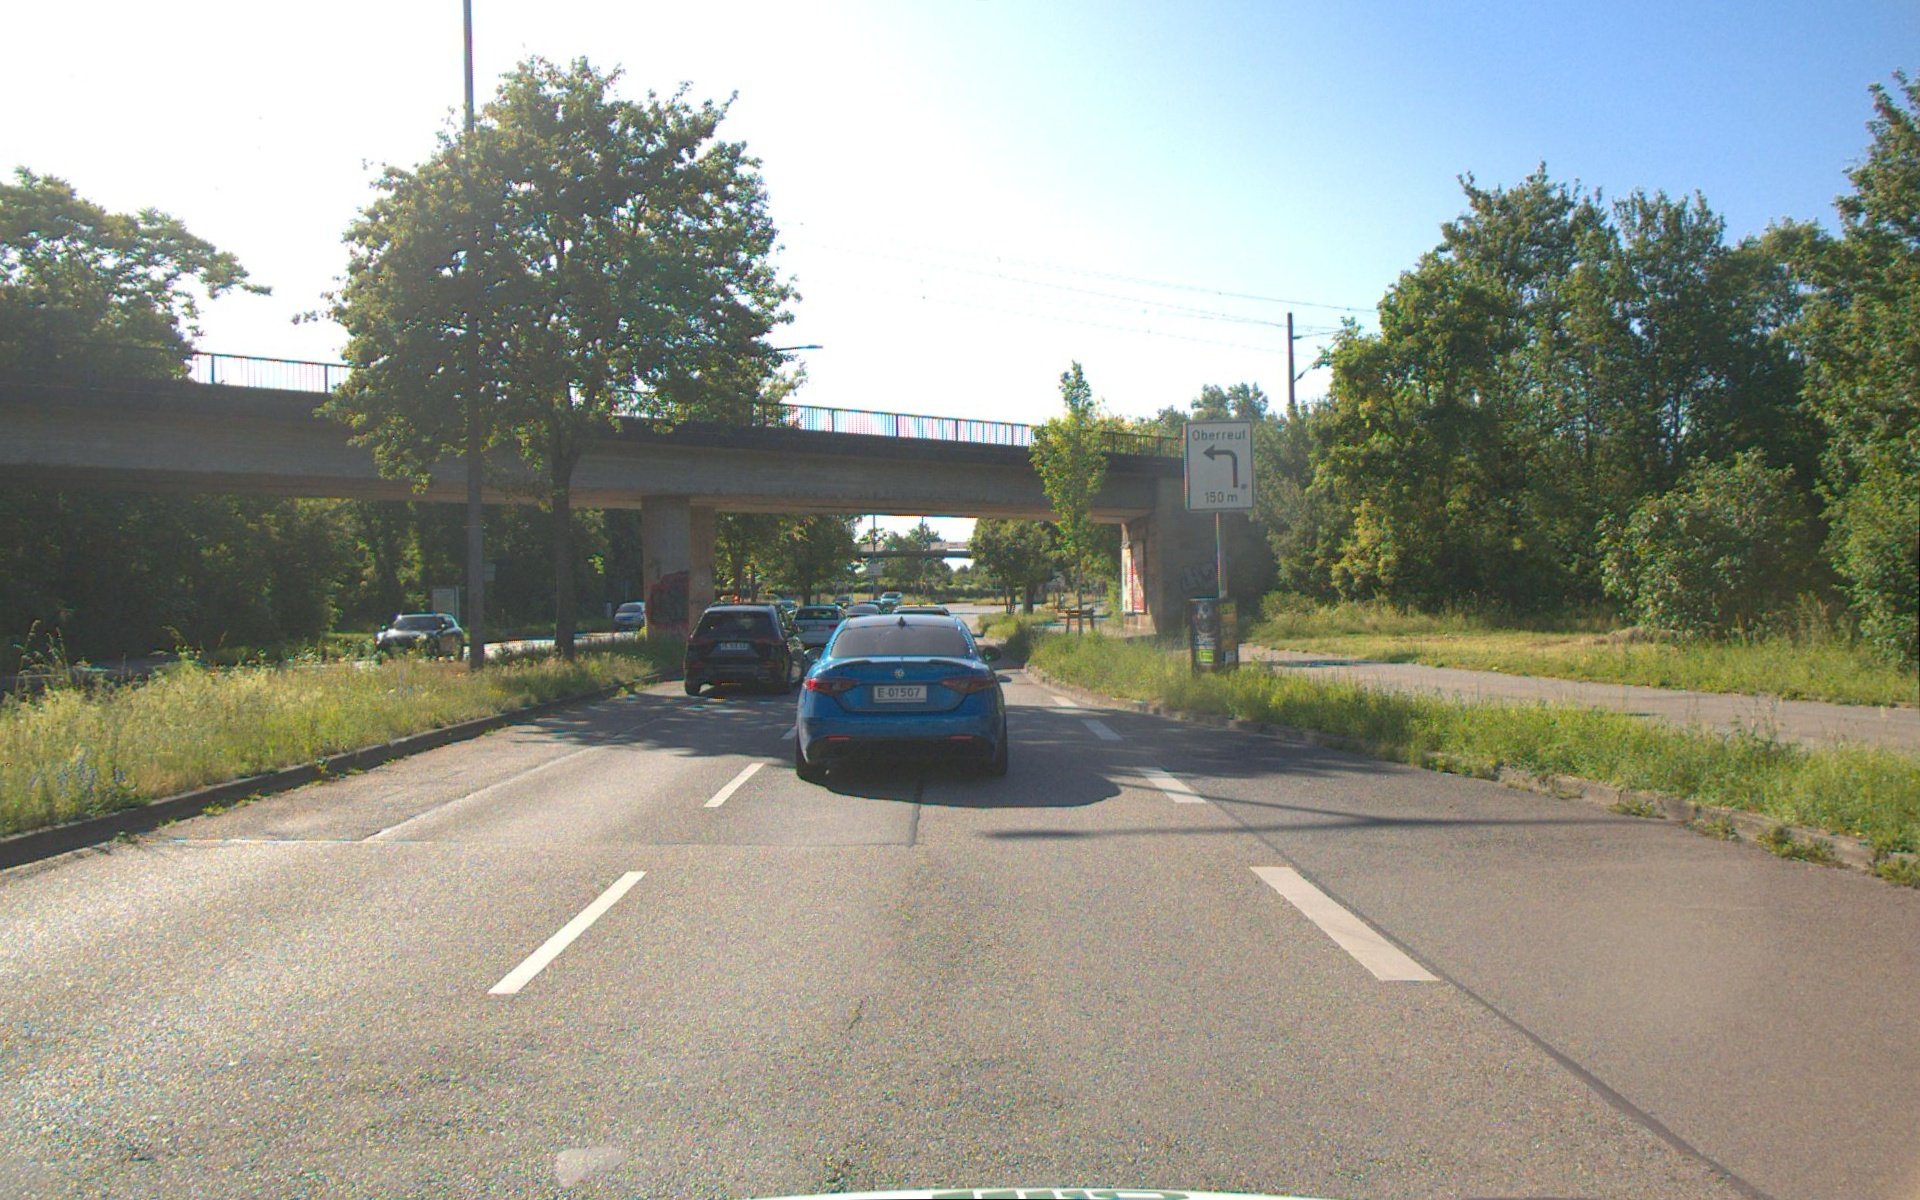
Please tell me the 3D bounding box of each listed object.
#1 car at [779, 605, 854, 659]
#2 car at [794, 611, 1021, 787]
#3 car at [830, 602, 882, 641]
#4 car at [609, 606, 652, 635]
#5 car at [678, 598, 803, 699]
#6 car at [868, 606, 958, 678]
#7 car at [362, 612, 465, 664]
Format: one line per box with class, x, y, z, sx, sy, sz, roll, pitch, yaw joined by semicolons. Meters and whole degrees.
car;-4.110;0.896;47.999;1.845;1.479;4.525;0;-1;-1
car;-0.458;0.829;15.671;1.845;1.431;4.223;0;-1;-1
car;-4.097;0.858;65.821;1.845;1.479;4.525;0;-1;-1
car;-19.681;1.221;98.987;1.694;1.645;4.178;-2;-1;-1
car;-3.756;0.803;28.900;1.673;1.626;4.223;0;-1;-1
car;-1.004;0.883;36.475;1.845;1.479;4.525;0;-1;-1
car;-16.434;1.113;49.943;1.779;1.467;4.088;-2;-1;-1
